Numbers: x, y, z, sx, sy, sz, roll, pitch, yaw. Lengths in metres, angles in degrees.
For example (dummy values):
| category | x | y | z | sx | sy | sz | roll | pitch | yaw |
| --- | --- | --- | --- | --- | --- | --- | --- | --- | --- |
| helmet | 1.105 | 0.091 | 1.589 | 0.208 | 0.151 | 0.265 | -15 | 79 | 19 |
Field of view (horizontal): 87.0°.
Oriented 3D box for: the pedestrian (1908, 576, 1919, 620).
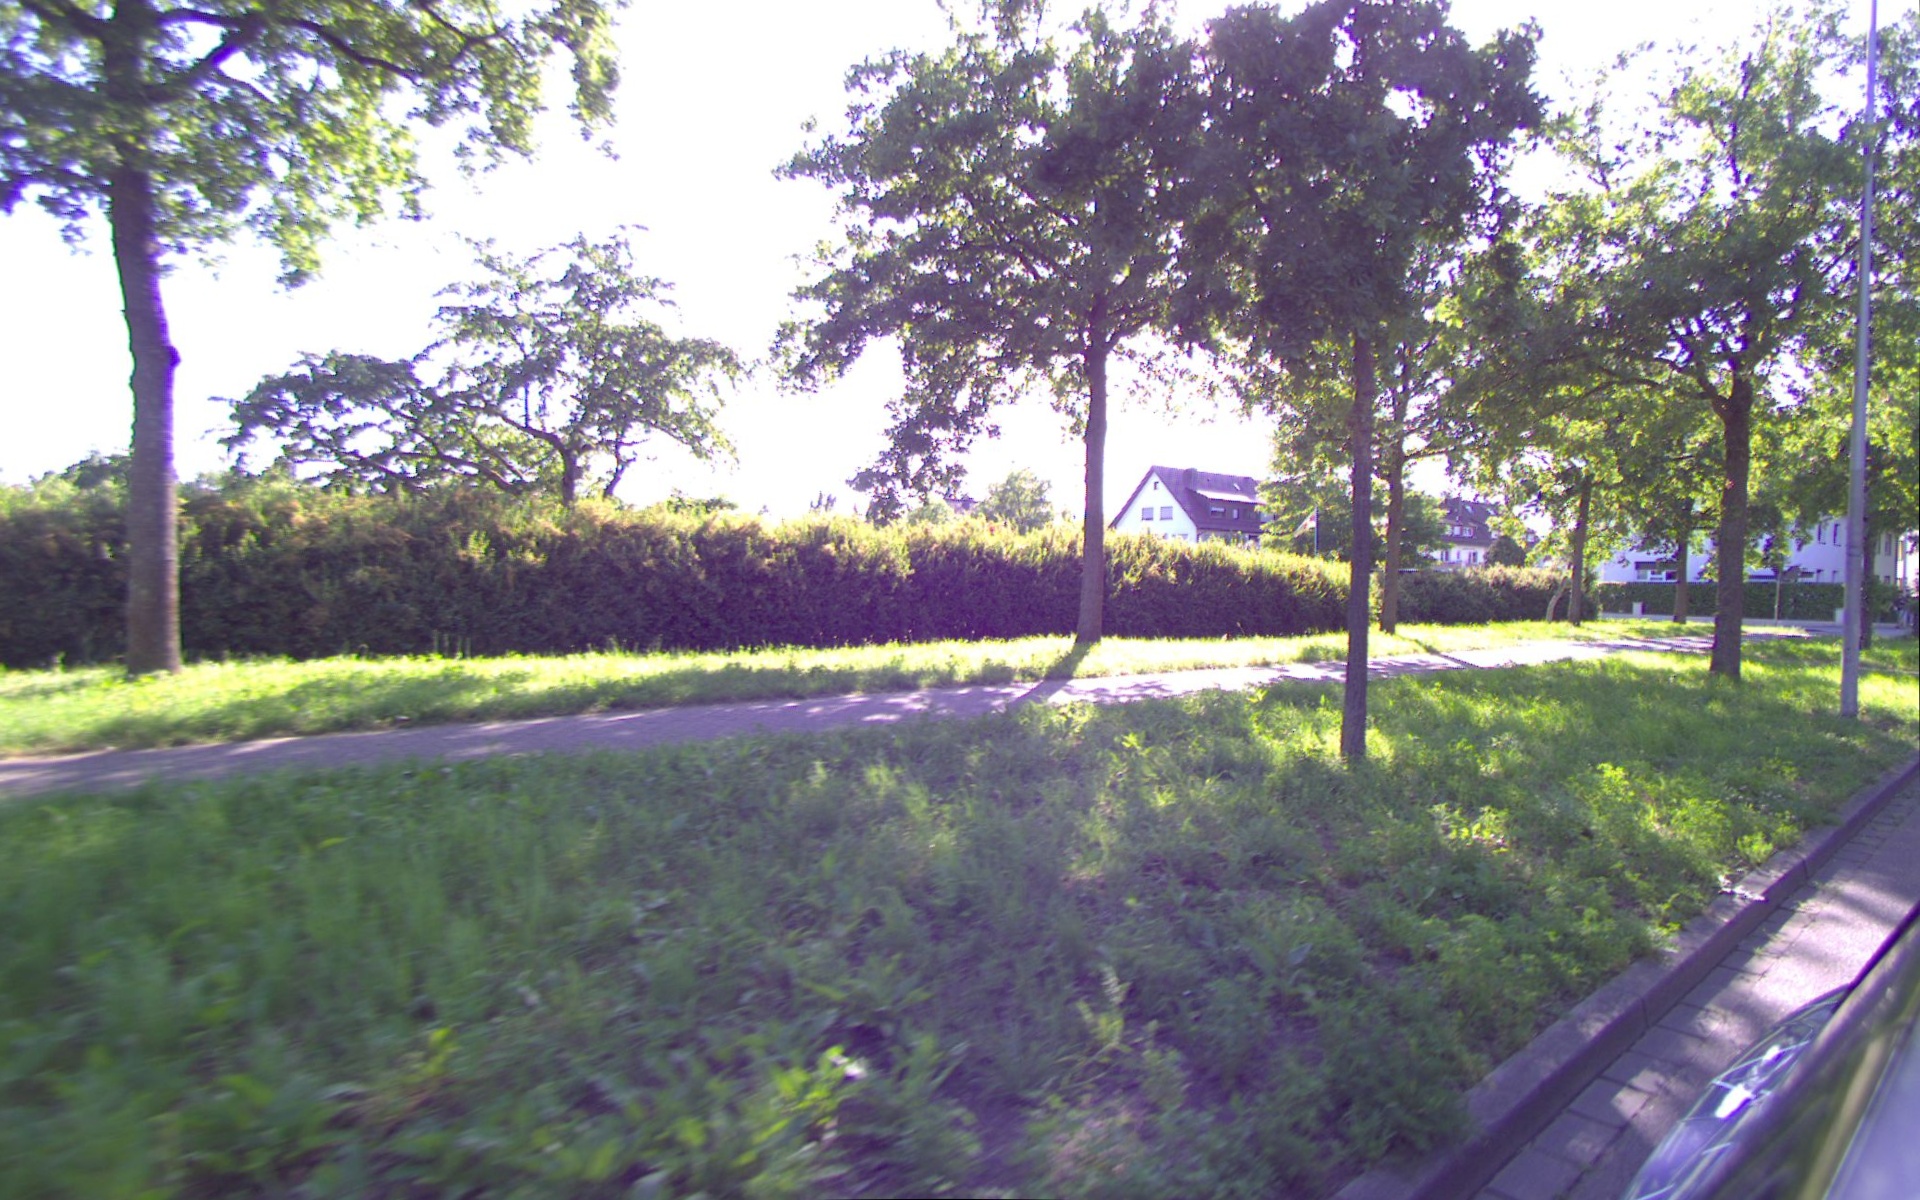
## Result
| category | x | y | z | sx | sy | sz | roll | pitch | yaw |
| --- | --- | --- | --- | --- | --- | --- | --- | --- | --- |
| pedestrian | 45.370 | -0.081 | 47.858 | 0.819 | 2.038 | 0.610 | 1 | 1 | -39 |
